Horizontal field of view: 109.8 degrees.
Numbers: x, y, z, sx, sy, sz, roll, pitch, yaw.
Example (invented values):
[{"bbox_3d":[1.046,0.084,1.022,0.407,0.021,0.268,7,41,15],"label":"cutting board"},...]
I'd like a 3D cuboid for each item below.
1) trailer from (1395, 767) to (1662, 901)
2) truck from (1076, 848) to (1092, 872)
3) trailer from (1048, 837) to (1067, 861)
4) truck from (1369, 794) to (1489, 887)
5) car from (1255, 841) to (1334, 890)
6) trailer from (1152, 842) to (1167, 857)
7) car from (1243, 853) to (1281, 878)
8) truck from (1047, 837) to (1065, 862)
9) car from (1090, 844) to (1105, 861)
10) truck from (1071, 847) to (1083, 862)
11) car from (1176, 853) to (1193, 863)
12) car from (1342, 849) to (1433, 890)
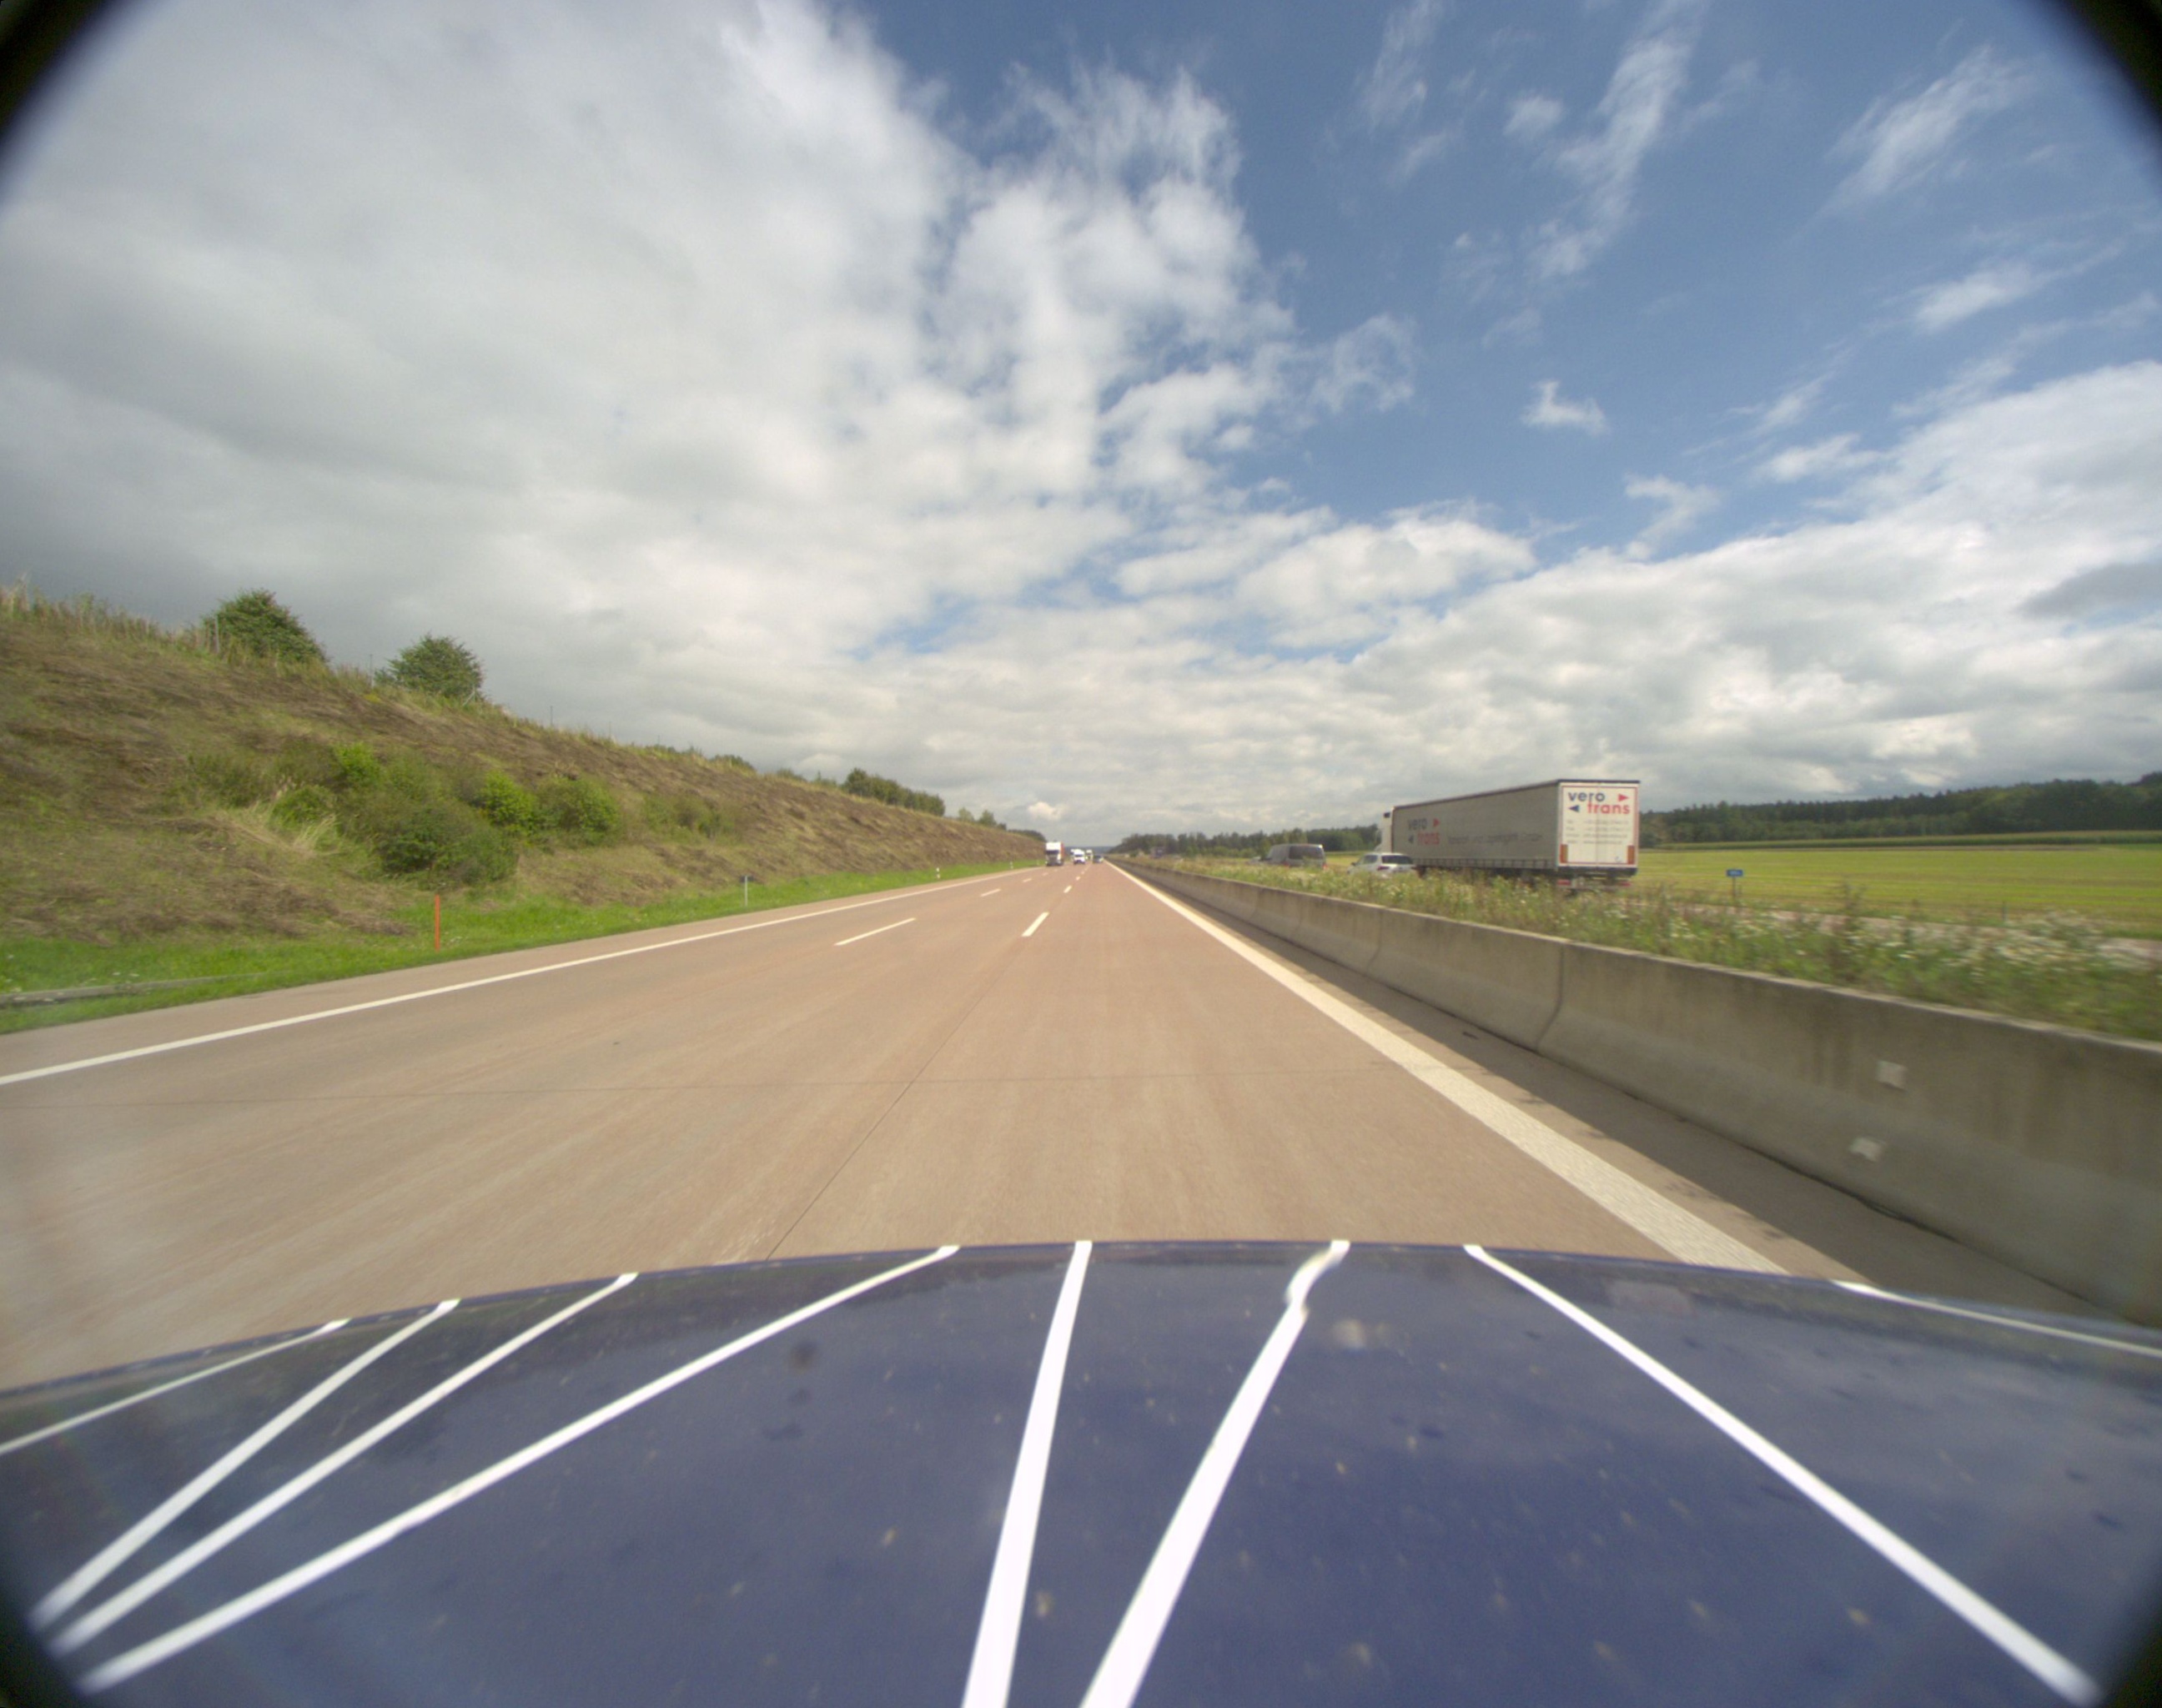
[{"bbox_3d":[16.783,-0.619,30.494,3.215,4.074,13.260,-3,0,2],"label":"trailer"},{"bbox_3d":[0.696,1.088,145.508,2.681,4.333,11.809,-3,0,1],"label":"truck"},{"bbox_3d":[-4.137,-0.776,138.077,2.679,4.069,12.790,-2,0,1],"label":"trailer"},{"bbox_3d":[17.082,-0.611,37.845,3.214,4.074,6.127,-3,0,2],"label":"truck"},{"bbox_3d":[9.338,0.451,33.705,1.998,2.002,5.246,0,0,0],"label":"car"},{"bbox_3d":[21.180,-1.098,205.786,2.777,3.936,14.330,-1,0,1],"label":"trailer"},{"bbox_3d":[13.809,0.848,58.132,1.777,1.738,4.471,-3,0,0],"label":"car"},{"bbox_3d":[-4.275,-0.780,132.058,2.680,4.082,6.616,-2,0,1],"label":"truck"},{"bbox_3d":[3.327,-0.267,153.832,2.773,3.260,6.393,-3,0,2],"label":"car"},{"bbox_3d":[-1.157,0.187,238.028,3.107,4.333,11.257,-3,0,1],"label":"truck"},{"bbox_3d":[16.337,0.668,120.062,1.999,1.499,4.274,0,0,-1],"label":"car"},{"bbox_3d":[13.138,0.608,32.904,1.998,1.648,4.784,0,1,0],"label":"car"}]
